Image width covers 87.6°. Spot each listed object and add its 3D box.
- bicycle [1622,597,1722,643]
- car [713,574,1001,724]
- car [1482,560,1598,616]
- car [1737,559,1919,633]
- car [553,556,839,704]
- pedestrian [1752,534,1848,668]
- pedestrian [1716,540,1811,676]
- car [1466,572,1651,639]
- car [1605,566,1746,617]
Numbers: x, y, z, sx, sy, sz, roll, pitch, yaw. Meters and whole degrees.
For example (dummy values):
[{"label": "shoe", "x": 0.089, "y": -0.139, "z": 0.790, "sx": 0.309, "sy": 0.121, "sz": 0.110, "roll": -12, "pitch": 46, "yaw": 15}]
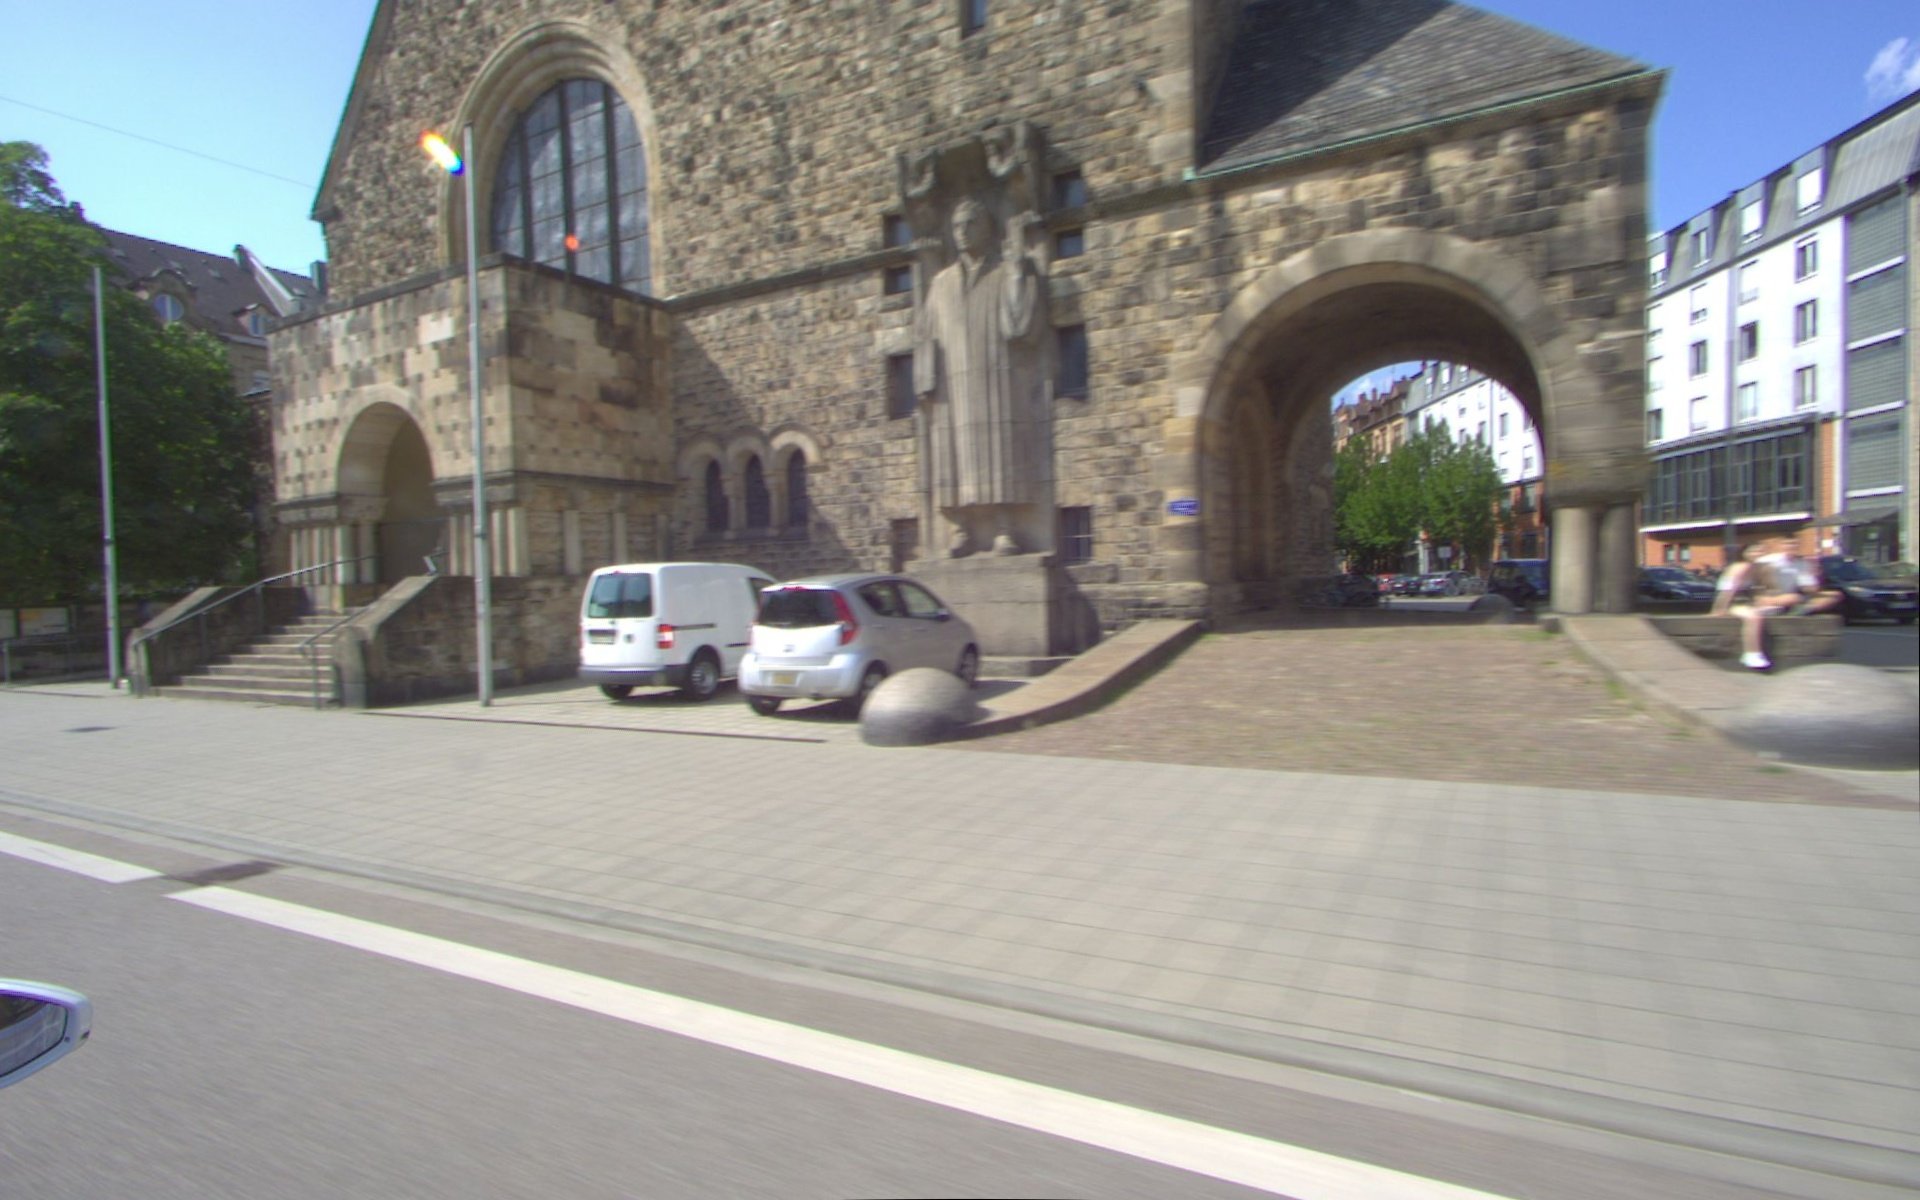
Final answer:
[{"label": "bicycle", "x": 12.110, "y": 0.336, "z": 17.056, "sx": 1.346, "sy": 0.751, "sz": 0.337, "roll": -1, "pitch": 2, "yaw": 28}, {"label": "car", "x": -1.106, "y": 0.479, "z": 12.533, "sx": 1.770, "sy": 1.568, "sz": 3.762, "roll": 0, "pitch": 1, "yaw": 28}, {"label": "car", "x": 19.292, "y": -0.450, "z": 33.525, "sx": 1.780, "sy": 1.687, "sz": 4.070, "roll": -2, "pitch": 2, "yaw": 5}, {"label": "car", "x": 21.219, "y": -0.130, "z": 24.340, "sx": 1.670, "sy": 1.618, "sz": 4.070, "roll": -1, "pitch": 1, "yaw": 4}, {"label": "car", "x": -3.673, "y": 0.338, "z": 14.669, "sx": 1.834, "sy": 1.848, "sz": 3.998, "roll": 0, "pitch": 1, "yaw": 27}, {"label": "pedestrian", "x": 9.447, "y": -0.001, "z": 11.275, "sx": 0.548, "sy": 1.428, "sz": 0.515, "roll": -4, "pitch": 8, "yaw": -17}, {"label": "pedestrian", "x": 8.913, "y": 0.077, "z": 11.121, "sx": 0.548, "sy": 1.428, "sz": 0.515, "roll": -4, "pitch": 8, "yaw": -17}, {"label": "car", "x": 16.518, "y": 0.139, "z": 27.825, "sx": 2.002, "sy": 1.674, "sz": 3.953, "roll": -2, "pitch": 1, "yaw": -28}, {"label": "car", "x": 21.489, "y": -0.277, "z": 30.270, "sx": 1.670, "sy": 1.409, "sz": 3.860, "roll": -1, "pitch": 1, "yaw": 4}]
